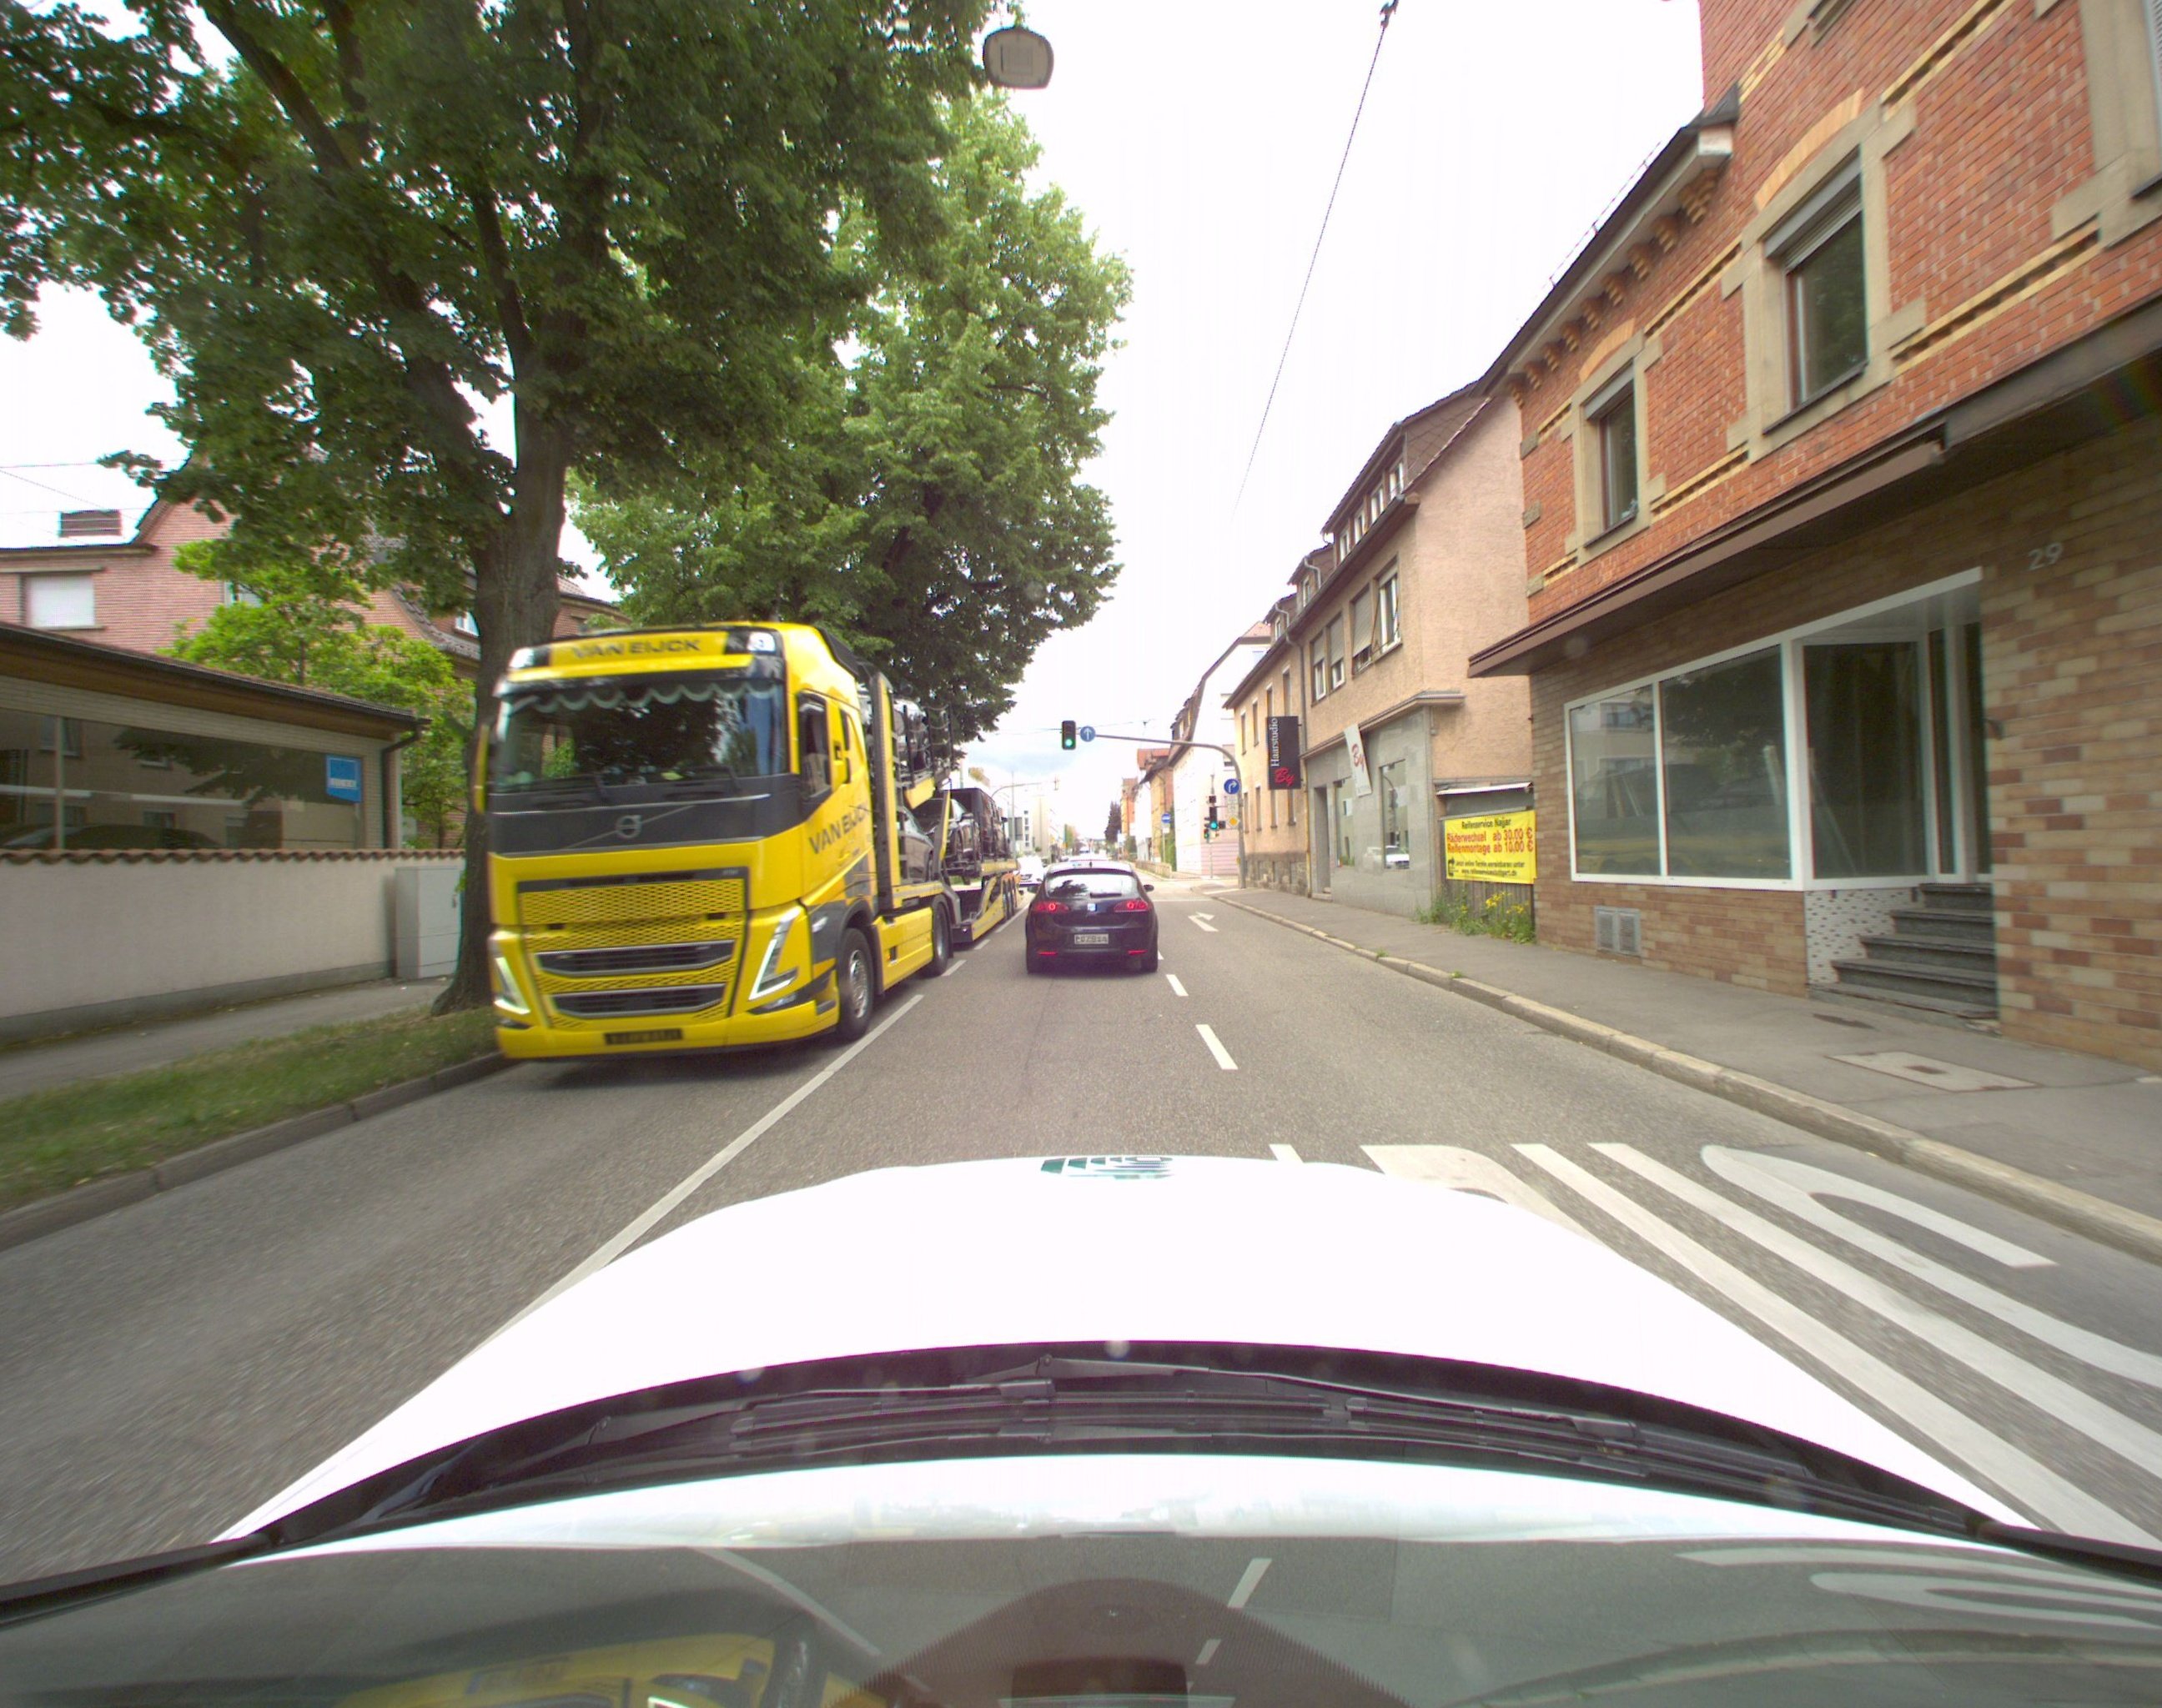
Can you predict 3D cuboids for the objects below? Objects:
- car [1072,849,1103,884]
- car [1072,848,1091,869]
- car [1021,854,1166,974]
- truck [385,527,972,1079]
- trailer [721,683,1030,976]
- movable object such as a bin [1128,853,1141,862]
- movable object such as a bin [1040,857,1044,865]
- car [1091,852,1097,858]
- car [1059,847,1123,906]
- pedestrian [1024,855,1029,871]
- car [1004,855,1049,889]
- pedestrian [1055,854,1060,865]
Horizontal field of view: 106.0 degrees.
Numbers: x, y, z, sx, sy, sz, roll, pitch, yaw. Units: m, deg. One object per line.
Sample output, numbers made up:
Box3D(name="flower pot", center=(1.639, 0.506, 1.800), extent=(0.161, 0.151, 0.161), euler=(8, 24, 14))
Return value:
Box3D(name="car", center=(0.357, 0.633, 42.429), extent=(1.526, 1.693, 3.693), euler=(-1, -1, 0))
Box3D(name="car", center=(0.055, 0.355, 67.391), extent=(1.526, 1.693, 3.693), euler=(-1, -1, 0))
Box3D(name="car", center=(0.186, 0.746, 11.970), extent=(1.753, 1.442, 4.000), euler=(-1, -1, 1))
Box3D(name="truck", center=(-3.318, -0.329, 9.479), extent=(2.833, 3.782, 7.671), euler=(-1, -1, 1))
Box3D(name="trailer", center=(-3.152, -0.272, 17.891), extent=(2.848, 3.808, 14.392), euler=(-1, -1, 1))
Box3D(name="movable object such as a bin", center=(8.430, 0.510, 128.490), extent=(1.811, 1.437, 1.993), euler=(-1, -1, 1))
Box3D(name="movable object such as a bin", center=(-5.330, 0.903, 111.163), extent=(0.547, 1.078, 0.612), euler=(-1, -1, 1))
Box3D(name="car", center=(3.335, 0.272, 217.331), extent=(1.526, 1.693, 3.693), euler=(-2, 0, 0))
Box3D(name="car", center=(0.311, 0.669, 25.691), extent=(1.836, 1.693, 4.000), euler=(-1, -1, 0))
Box3D(name="pedestrian", center=(-5.605, 0.932, 83.862), extent=(0.525, 1.548, 0.541), euler=(-1, -1, 0))
Box3D(name="car", center=(-2.661, 0.871, 40.616), extent=(1.760, 1.470, 4.227), euler=(-5, -1, 1))
Box3D(name="pedestrian", center=(-3.968, 0.939, 138.756), extent=(0.728, 1.729, 0.859), euler=(-1, -1, 0))
